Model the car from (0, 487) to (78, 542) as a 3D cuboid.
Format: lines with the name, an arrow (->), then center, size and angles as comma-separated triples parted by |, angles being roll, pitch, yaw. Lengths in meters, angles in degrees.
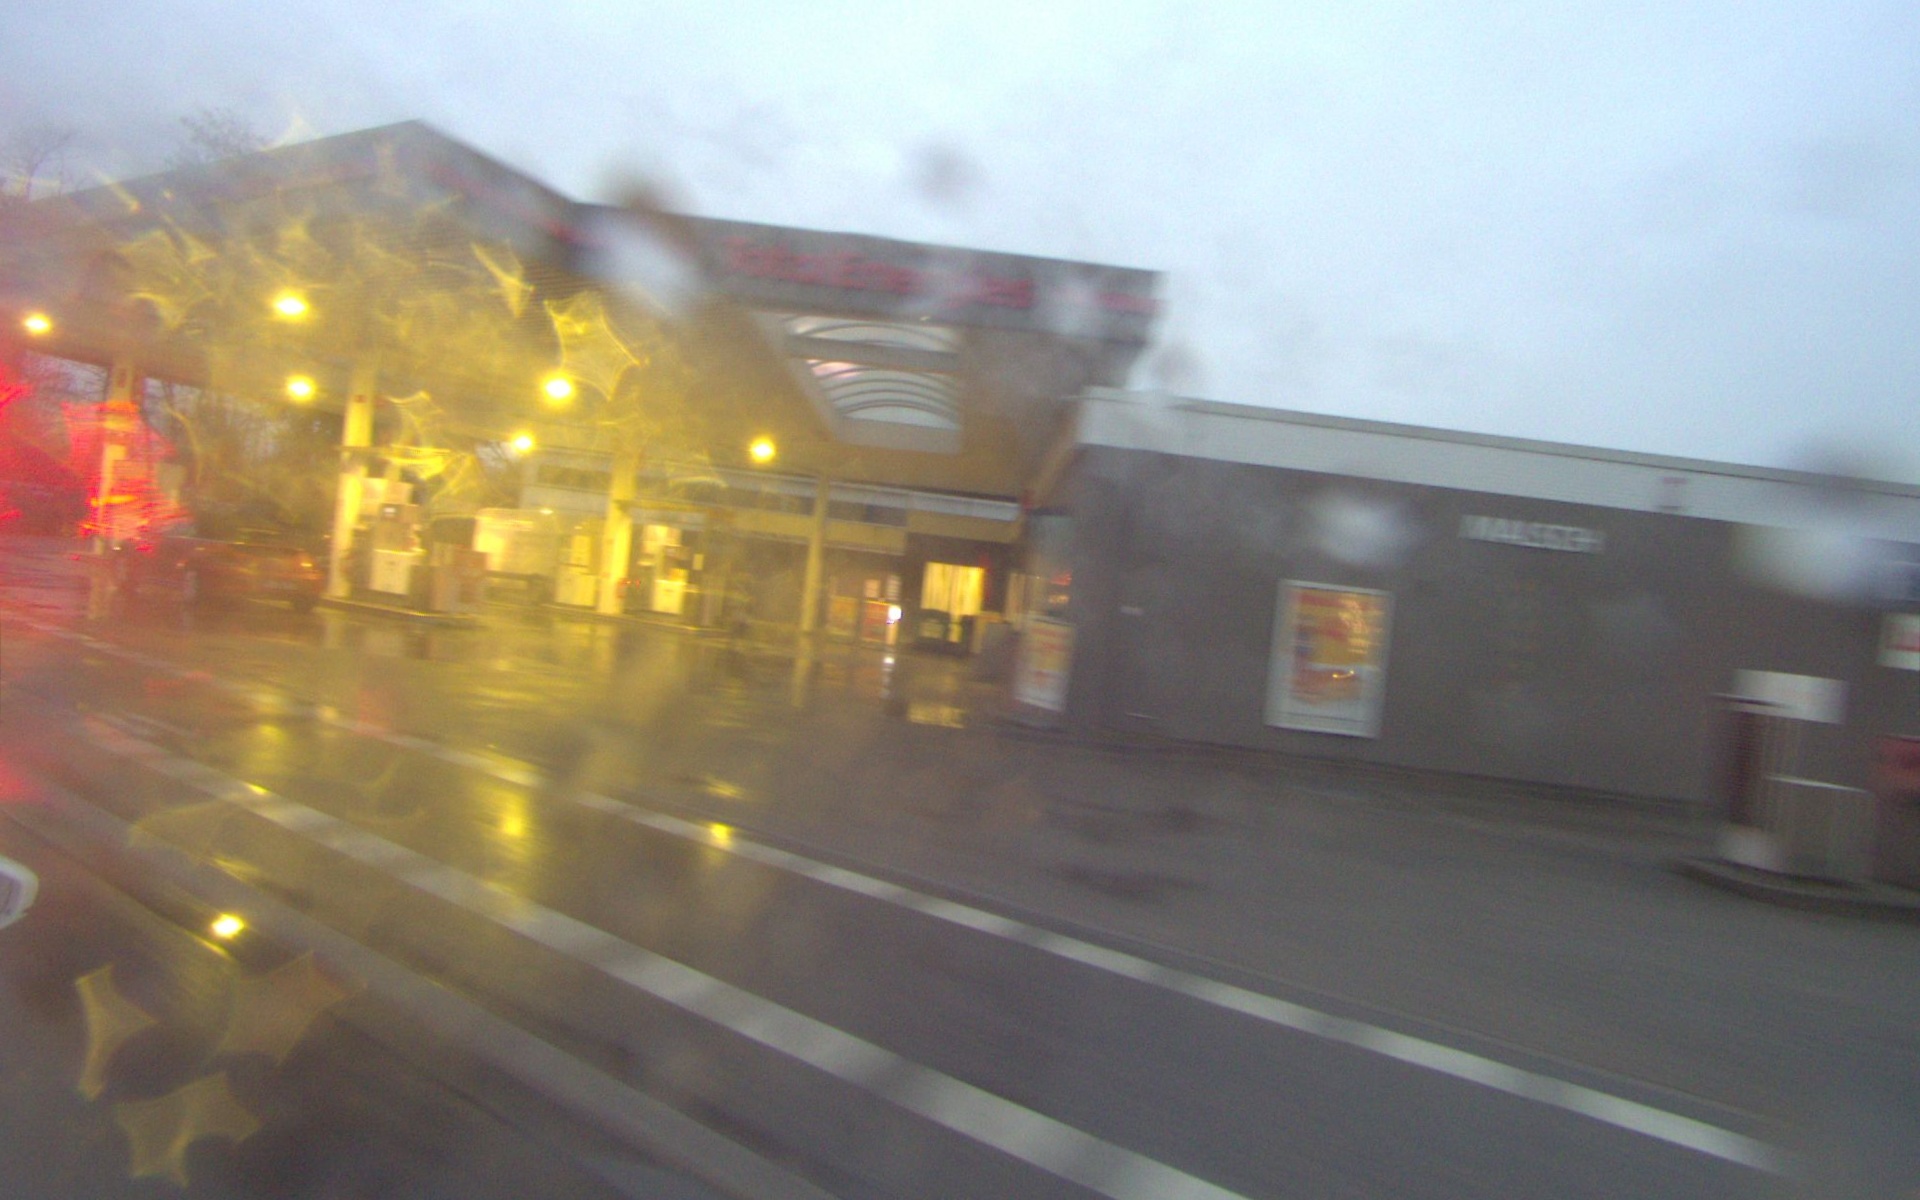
car -> -32.589, -3.003, 34.114 | 1.987, 1.628, 4.472 | 7, 0, -12

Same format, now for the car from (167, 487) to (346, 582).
car -> -17.516, -1.631, 25.027 | 4.226, 1.883, 1.995 | 7, 1, 31

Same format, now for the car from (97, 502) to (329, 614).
car -> -12.469, -0.716, 16.738 | 4.098, 1.414, 1.574 | 7, 1, 31

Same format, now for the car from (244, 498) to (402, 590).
car -> -17.671, -1.566, 27.882 | 3.933, 2.038, 1.997 | 7, 0, 31
